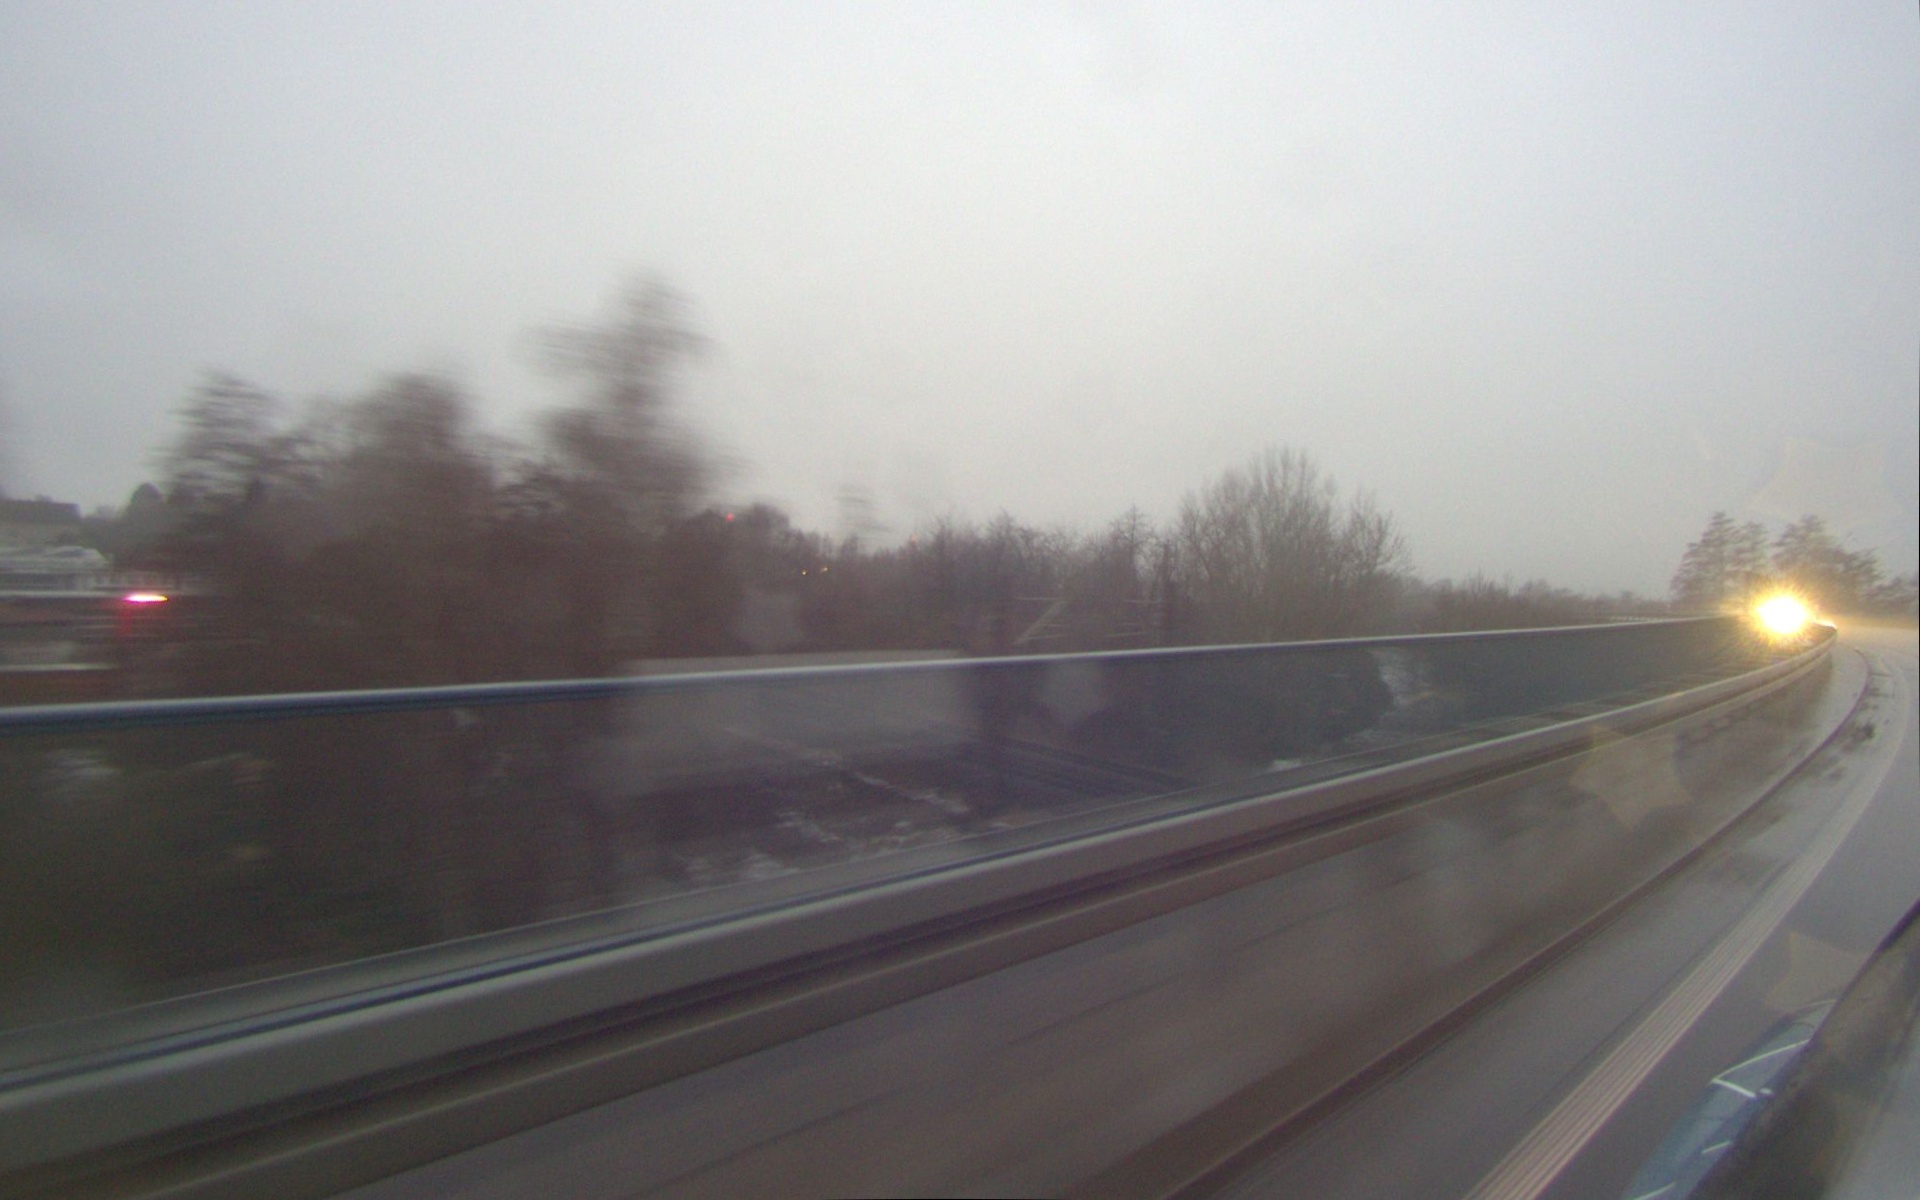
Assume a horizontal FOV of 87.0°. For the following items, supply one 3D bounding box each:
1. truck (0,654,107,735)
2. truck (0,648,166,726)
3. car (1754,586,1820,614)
[{"bbox_3d":[-44.481,4.371,44.864,2.785,3.274,9.994,0,1,43],"label":"truck"},{"bbox_3d":[-44.998,4.236,49.030,2.785,3.274,9.994,0,1,43],"label":"truck"},{"bbox_3d":[51.925,-0.042,63.651,2.083,1.594,4.758,3,2,25],"label":"car"}]
